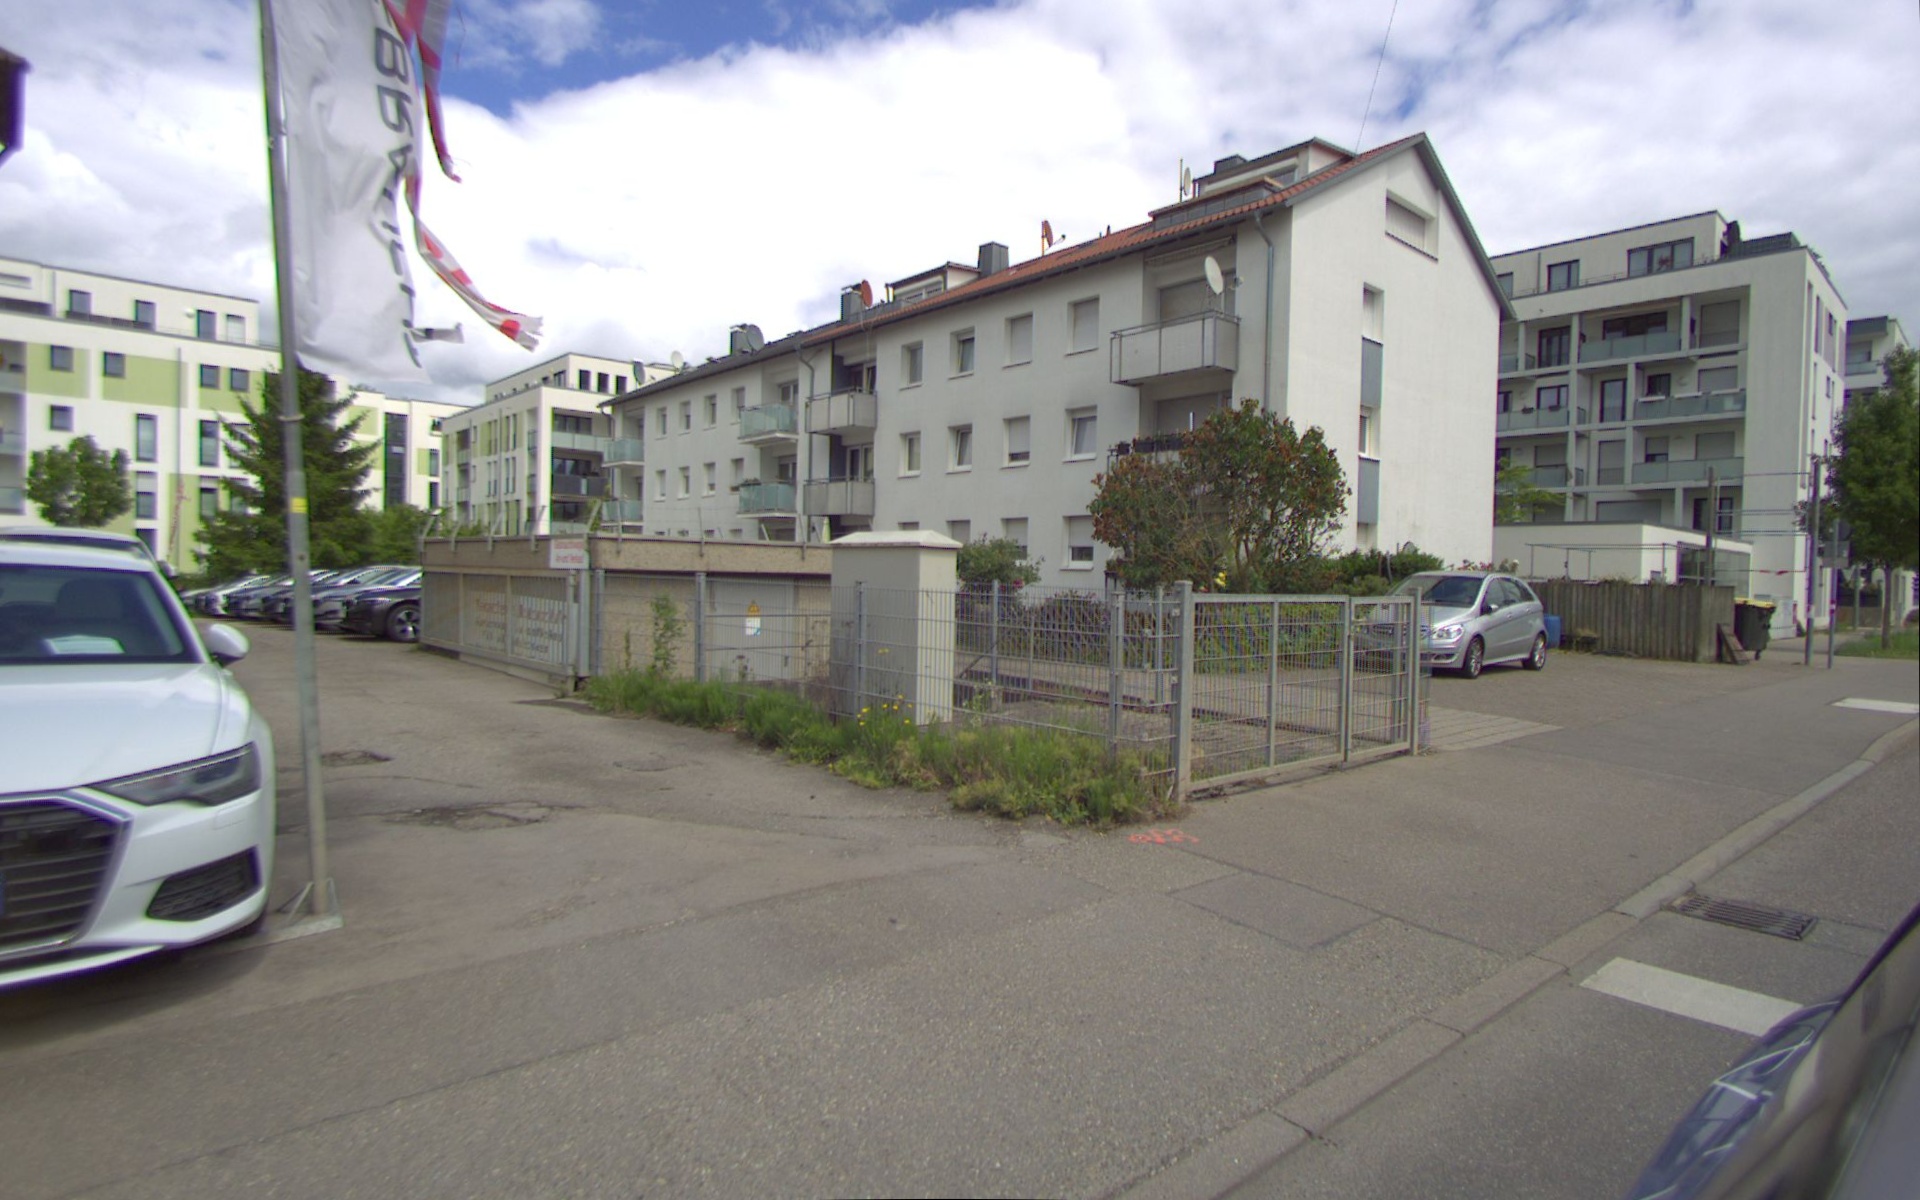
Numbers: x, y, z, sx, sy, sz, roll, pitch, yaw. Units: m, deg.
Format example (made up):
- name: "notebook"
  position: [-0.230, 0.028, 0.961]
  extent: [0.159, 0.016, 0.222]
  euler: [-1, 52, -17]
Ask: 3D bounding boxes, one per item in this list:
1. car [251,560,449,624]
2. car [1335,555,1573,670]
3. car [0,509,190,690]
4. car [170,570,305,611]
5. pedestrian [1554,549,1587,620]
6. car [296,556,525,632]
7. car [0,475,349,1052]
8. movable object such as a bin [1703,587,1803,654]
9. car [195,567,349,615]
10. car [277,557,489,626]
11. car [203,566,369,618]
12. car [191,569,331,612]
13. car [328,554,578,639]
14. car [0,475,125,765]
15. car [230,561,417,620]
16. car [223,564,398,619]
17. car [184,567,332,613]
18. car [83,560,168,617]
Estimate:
- name: "car"
  position: [-14.497, -0.215, 24.152]
  extent: [3.855, 1.401, 1.647]
  euler: [0, 2, -41]
- name: "car"
  position: [7.988, 0.148, 16.181]
  extent: [4.444, 1.564, 1.878]
  euler: [0, 2, -42]
- name: "car"
  position: [-9.542, -0.013, 10.799]
  extent: [1.826, 1.601, 4.134]
  euler: [1, 0, -41]
- name: "car"
  position: [-26.124, -0.365, 36.630]
  extent: [3.855, 1.401, 1.647]
  euler: [0, 2, -41]
- name: "pedestrian"
  position: [15.585, -0.398, 25.830]
  extent: [0.490, 1.787, 0.509]
  euler: [-1, 0, -24]
- name: "car"
  position: [-11.140, -0.149, 20.628]
  extent: [3.855, 1.401, 1.647]
  euler: [0, 2, -41]
- name: "car"
  position: [-4.212, 0.386, 4.282]
  extent: [2.010, 1.512, 4.705]
  euler: [1, 0, -41]
- name: "movable object such as a bin"
  position: [17.687, 0.430, 22.599]
  extent: [1.225, 1.378, 1.326]
  euler: [-1, 2, -24]
- name: "car"
  position: [-21.462, -0.287, 31.641]
  extent: [3.855, 1.401, 1.647]
  euler: [0, 2, -41]
- name: "car"
  position: [-12.742, -0.202, 22.447]
  extent: [3.855, 1.401, 1.647]
  euler: [0, 2, -41]
- name: "car"
  position: [-19.524, -0.253, 29.406]
  extent: [3.855, 1.401, 1.647]
  euler: [0, 2, -41]
- name: "car"
  position: [-24.186, -0.339, 35.059]
  extent: [3.855, 1.401, 1.647]
  euler: [0, 2, -41]
- name: "car"
  position: [-9.281, -0.095, 18.681]
  extent: [3.855, 1.401, 1.647]
  euler: [0, 2, -41]
- name: "car"
  position: [-8.455, 0.109, 6.162]
  extent: [4.930, 1.843, 1.985]
  euler: [-1, 3, -31]
- name: "car"
  position: [-16.217, -0.254, 25.866]
  extent: [3.855, 1.401, 1.647]
  euler: [0, 2, -41]
- name: "car"
  position: [-17.755, -0.252, 27.756]
  extent: [3.855, 1.401, 1.647]
  euler: [0, 2, -41]
- name: "car"
  position: [-22.969, -0.331, 33.185]
  extent: [3.855, 1.401, 1.647]
  euler: [0, 2, -41]
- name: "car"
  position: [-25.131, -0.338, 30.479]
  extent: [1.854, 1.576, 3.994]
  euler: [-1, 0, -40]
